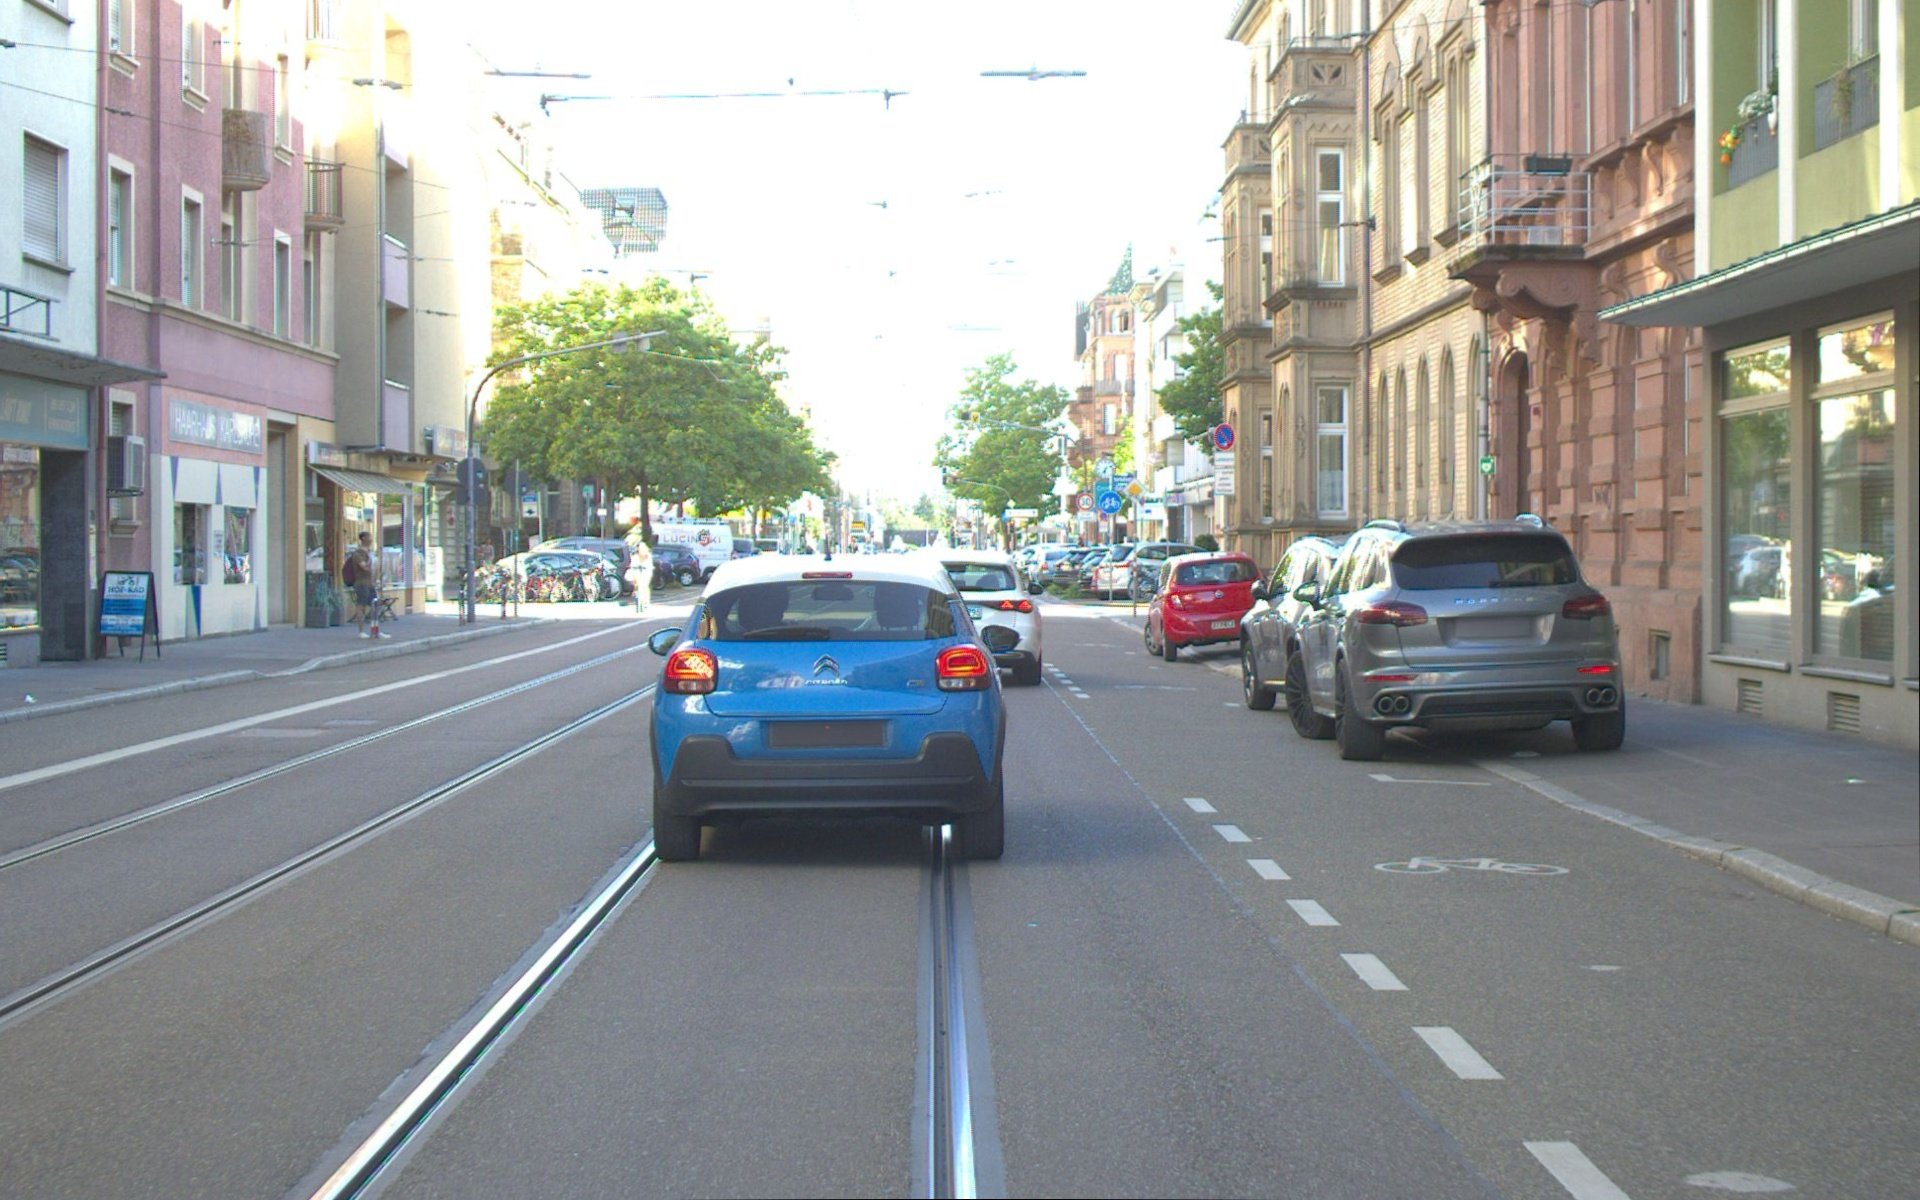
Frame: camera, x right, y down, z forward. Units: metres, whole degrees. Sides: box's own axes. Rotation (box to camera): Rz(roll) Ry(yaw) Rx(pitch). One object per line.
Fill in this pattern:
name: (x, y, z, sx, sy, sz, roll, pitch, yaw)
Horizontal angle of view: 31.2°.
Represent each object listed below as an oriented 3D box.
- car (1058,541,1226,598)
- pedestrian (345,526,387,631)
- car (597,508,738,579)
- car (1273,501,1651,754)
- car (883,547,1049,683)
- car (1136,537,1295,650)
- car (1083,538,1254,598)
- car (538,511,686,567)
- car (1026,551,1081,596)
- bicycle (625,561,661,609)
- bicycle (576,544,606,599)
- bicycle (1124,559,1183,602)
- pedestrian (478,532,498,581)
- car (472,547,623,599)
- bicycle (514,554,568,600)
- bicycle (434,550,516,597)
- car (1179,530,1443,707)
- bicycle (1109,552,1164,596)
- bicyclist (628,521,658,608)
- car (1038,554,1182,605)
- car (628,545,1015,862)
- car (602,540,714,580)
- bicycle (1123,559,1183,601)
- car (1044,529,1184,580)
car: (5.346, -0.900, 100.948, 4.433, 1.590, 2.089, 1, 1, -25)
pedestrian: (-9.633, -0.352, 55.774, 0.563, 1.680, 0.616, 1, 0, -2)
car: (-11.790, -2.267, 138.520, 5.370, 2.739, 1.806, 0, 1, -30)
car: (3.609, 0.163, 25.608, 1.993, 1.610, 4.786, -3, 1, -1)
car: (0.043, 0.143, 38.627, 1.762, 1.436, 3.557, 1, 1, -1)
car: (3.651, -0.116, 49.882, 1.865, 1.477, 4.401, -3, 1, -1)
car: (5.777, -0.889, 95.290, 4.350, 1.590, 1.854, 1, 1, -25)
car: (-11.389, -1.988, 112.565, 4.352, 1.777, 1.996, 0, 1, -32)
car: (3.418, -0.969, 125.957, 1.873, 1.590, 4.719, 1, 1, 0)
bicycle: (-7.393, -0.361, 80.147, 0.602, 1.092, 2.044, -2, 1, 0)
bicycle: (-9.639, -0.749, 89.885, 0.681, 1.315, 2.436, 1, 3, -4)
bicycle: (5.174, -0.517, 91.884, 1.560, 1.123, 0.294, 1, 0, 6)
pedestrian: (-15.929, -1.470, 116.009, 0.569, 1.647, 0.641, 1, 0, 0)
car: (-11.547, -0.747, 96.296, 3.779, 1.395, 1.755, 0, 1, -33)
bicycle: (-11.052, -0.604, 90.661, 0.681, 1.119, 1.888, -1, 3, -31)
bicycle: (-12.726, -0.706, 90.226, 2.433, 1.105, 0.682, 3, 4, 40)
car: (3.447, 0.153, 34.577, 1.865, 1.641, 4.402, 1, 1, -4)
bicycle: (4.593, -0.675, 89.496, 1.397, 1.123, 0.551, 1, 0, 1)
bicyclist: (-7.397, -0.831, 80.314, 0.612, 2.007, 0.734, 1, 0, 0)
car: (4.972, -0.678, 113.685, 4.302, 1.590, 1.983, 1, 1, -25)
car: (-0.659, 0.460, 17.641, 1.762, 1.436, 3.557, 1, 1, -1)
car: (-11.641, -1.536, 132.534, 3.986, 1.484, 1.807, 1, 1, -16)
bicycle: (5.139, -0.533, 91.560, 1.556, 1.075, 0.307, 1, 0, 6)
car: (4.986, -1.459, 111.147, 3.986, 1.590, 2.088, 1, 1, -25)
